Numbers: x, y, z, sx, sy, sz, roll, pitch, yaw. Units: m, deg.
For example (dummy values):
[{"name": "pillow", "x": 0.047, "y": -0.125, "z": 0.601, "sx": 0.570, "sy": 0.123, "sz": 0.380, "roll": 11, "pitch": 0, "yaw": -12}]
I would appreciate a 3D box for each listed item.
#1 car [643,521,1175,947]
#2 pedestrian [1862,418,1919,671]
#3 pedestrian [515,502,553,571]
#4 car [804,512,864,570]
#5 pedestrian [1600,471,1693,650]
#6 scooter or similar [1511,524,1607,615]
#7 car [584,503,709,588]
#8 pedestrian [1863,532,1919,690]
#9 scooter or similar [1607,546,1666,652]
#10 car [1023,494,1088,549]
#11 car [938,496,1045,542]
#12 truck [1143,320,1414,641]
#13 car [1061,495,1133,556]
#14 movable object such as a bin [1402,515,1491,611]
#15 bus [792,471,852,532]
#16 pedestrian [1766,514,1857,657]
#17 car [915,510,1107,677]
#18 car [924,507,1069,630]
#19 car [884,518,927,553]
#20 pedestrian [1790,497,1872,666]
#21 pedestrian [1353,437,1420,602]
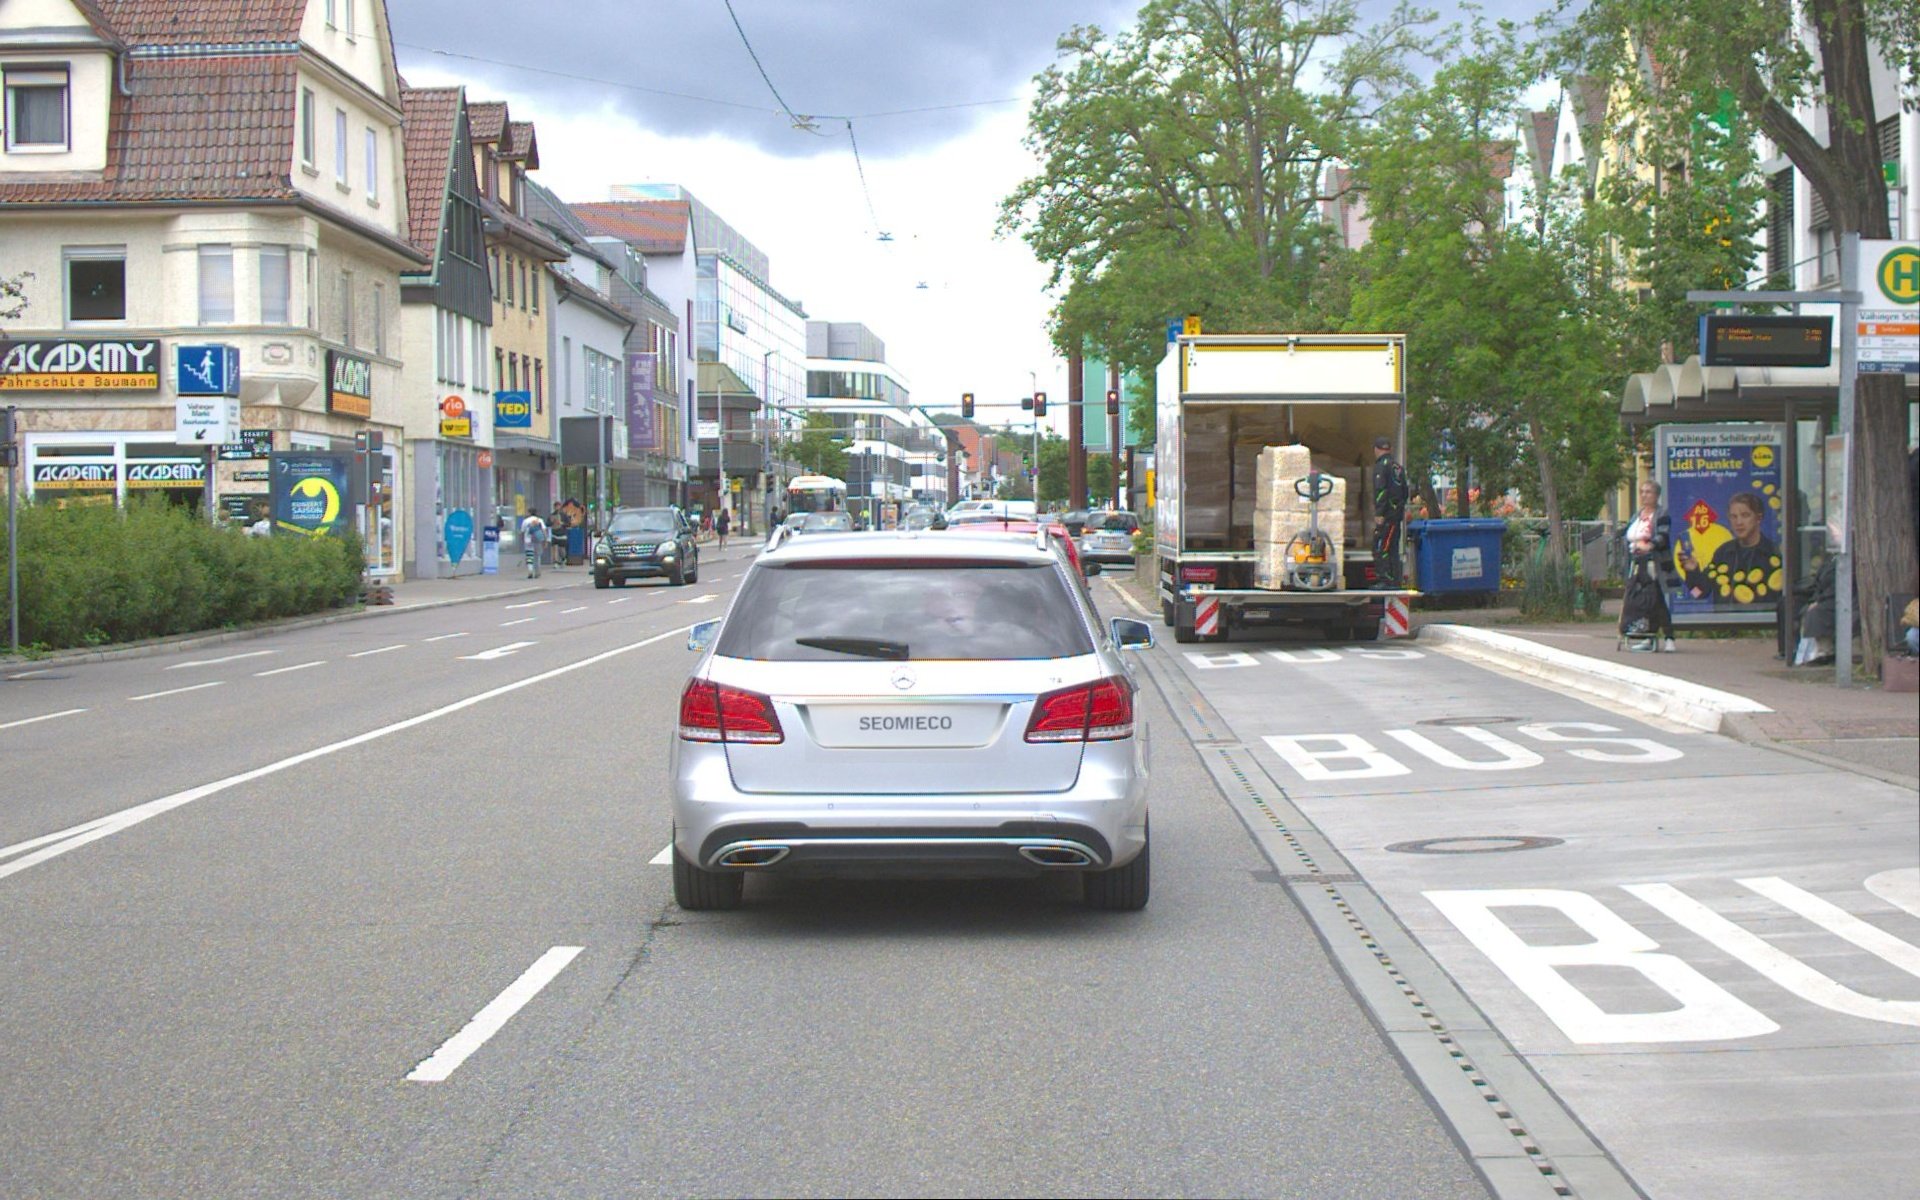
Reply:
[{"name": "car", "x": -0.190, "y": 0.428, "z": 14.121, "sx": 1.874, "sy": 1.501, "sz": 4.000, "roll": 0, "pitch": 1, "yaw": 0}, {"name": "pedestrian", "x": 7.763, "y": -0.459, "z": 28.240, "sx": 0.613, "sy": 2.040, "sz": 0.587, "roll": -2, "pitch": 1, "yaw": 15}, {"name": "pedestrian", "x": -10.217, "y": -1.532, "z": 82.515, "sx": 0.816, "sy": 1.629, "sz": 0.980, "roll": 1, "pitch": 1, "yaw": -4}, {"name": "car", "x": -3.474, "y": -1.647, "z": 94.995, "sx": 1.570, "sy": 1.535, "sz": 2.961, "roll": 1, "pitch": 1, "yaw": -1}, {"name": "pedestrian", "x": 6.368, "y": -0.370, "z": 31.890, "sx": 0.534, "sy": 1.629, "sz": 0.588, "roll": 2, "pitch": 2, "yaw": -23}, {"name": "scooter or similar", "x": 8.054, "y": -0.417, "z": 46.213, "sx": 1.175, "sy": 1.192, "sz": 0.460, "roll": -1, "pitch": 1, "yaw": -7}, {"name": "car", "x": -6.900, "y": -1.243, "z": 76.108, "sx": 2.069, "sy": 1.732, "sz": 4.693, "roll": -3, "pitch": 2, "yaw": 3}, {"name": "pedestrian", "x": 7.208, "y": 0.075, "z": 25.719, "sx": 0.711, "sy": 1.162, "sz": 0.588, "roll": 0, "pitch": 2, "yaw": -5}, {"name": "scooter or similar", "x": 6.197, "y": -0.010, "z": 31.486, "sx": 0.384, "sy": 0.955, "sz": 0.355, "roll": -2, "pitch": 2, "yaw": -39}, {"name": "car", "x": 2.997, "y": -2.464, "z": 107.899, "sx": 1.993, "sy": 1.678, "sz": 4.000, "roll": -1, "pitch": 2, "yaw": 2}, {"name": "car", "x": 1.466, "y": -3.712, "z": 157.482, "sx": 1.966, "sy": 1.954, "sz": 5.128, "roll": -1, "pitch": 2, "yaw": 42}, {"name": "truck", "x": 3.810, "y": -1.474, "z": 43.222, "sx": 2.688, "sy": 3.549, "sz": 9.767, "roll": -1, "pitch": 2, "yaw": 1}, {"name": "car", "x": 3.843, "y": -2.114, "z": 96.828, "sx": 1.993, "sy": 1.678, "sz": 4.000, "roll": -1, "pitch": 2, "yaw": 2}, {"name": "movable object such as a bin", "x": 6.990, "y": -0.545, "z": 49.431, "sx": 1.143, "sy": 1.335, "sz": 1.376, "roll": -1, "pitch": 1, "yaw": 3}, {"name": "bus", "x": -7.404, "y": -5.288, "z": 184.718, "sx": 2.775, "sy": 3.154, "sz": 5.933, "roll": -1, "pitch": 2, "yaw": 2}, {"name": "pedestrian", "x": 7.567, "y": -0.134, "z": 30.567, "sx": 0.700, "sy": 1.228, "sz": 0.588, "roll": -3, "pitch": 1, "yaw": 11}, {"name": "car", "x": 0.527, "y": -0.099, "z": 33.877, "sx": 1.754, "sy": 1.515, "sz": 4.000, "roll": -1, "pitch": 1, "yaw": 2}, {"name": "car", "x": 0.569, "y": -0.489, "z": 49.702, "sx": 1.993, "sy": 1.678, "sz": 4.000, "roll": -1, "pitch": 2, "yaw": 2}, {"name": "car", "x": -2.354, "y": -2.814, "z": 149.081, "sx": 1.617, "sy": 1.423, "sz": 3.922, "roll": -1, "pitch": 2, "yaw": 2}, {"name": "pedestrian", "x": 7.418, "y": -0.161, "z": 29.265, "sx": 0.613, "sy": 1.396, "sz": 0.587, "roll": -2, "pitch": 1, "yaw": 15}, {"name": "pedestrian", "x": 4.665, "y": -0.876, "z": 37.597, "sx": 0.613, "sy": 1.774, "sz": 0.588, "roll": -1, "pitch": 0, "yaw": -2}]
